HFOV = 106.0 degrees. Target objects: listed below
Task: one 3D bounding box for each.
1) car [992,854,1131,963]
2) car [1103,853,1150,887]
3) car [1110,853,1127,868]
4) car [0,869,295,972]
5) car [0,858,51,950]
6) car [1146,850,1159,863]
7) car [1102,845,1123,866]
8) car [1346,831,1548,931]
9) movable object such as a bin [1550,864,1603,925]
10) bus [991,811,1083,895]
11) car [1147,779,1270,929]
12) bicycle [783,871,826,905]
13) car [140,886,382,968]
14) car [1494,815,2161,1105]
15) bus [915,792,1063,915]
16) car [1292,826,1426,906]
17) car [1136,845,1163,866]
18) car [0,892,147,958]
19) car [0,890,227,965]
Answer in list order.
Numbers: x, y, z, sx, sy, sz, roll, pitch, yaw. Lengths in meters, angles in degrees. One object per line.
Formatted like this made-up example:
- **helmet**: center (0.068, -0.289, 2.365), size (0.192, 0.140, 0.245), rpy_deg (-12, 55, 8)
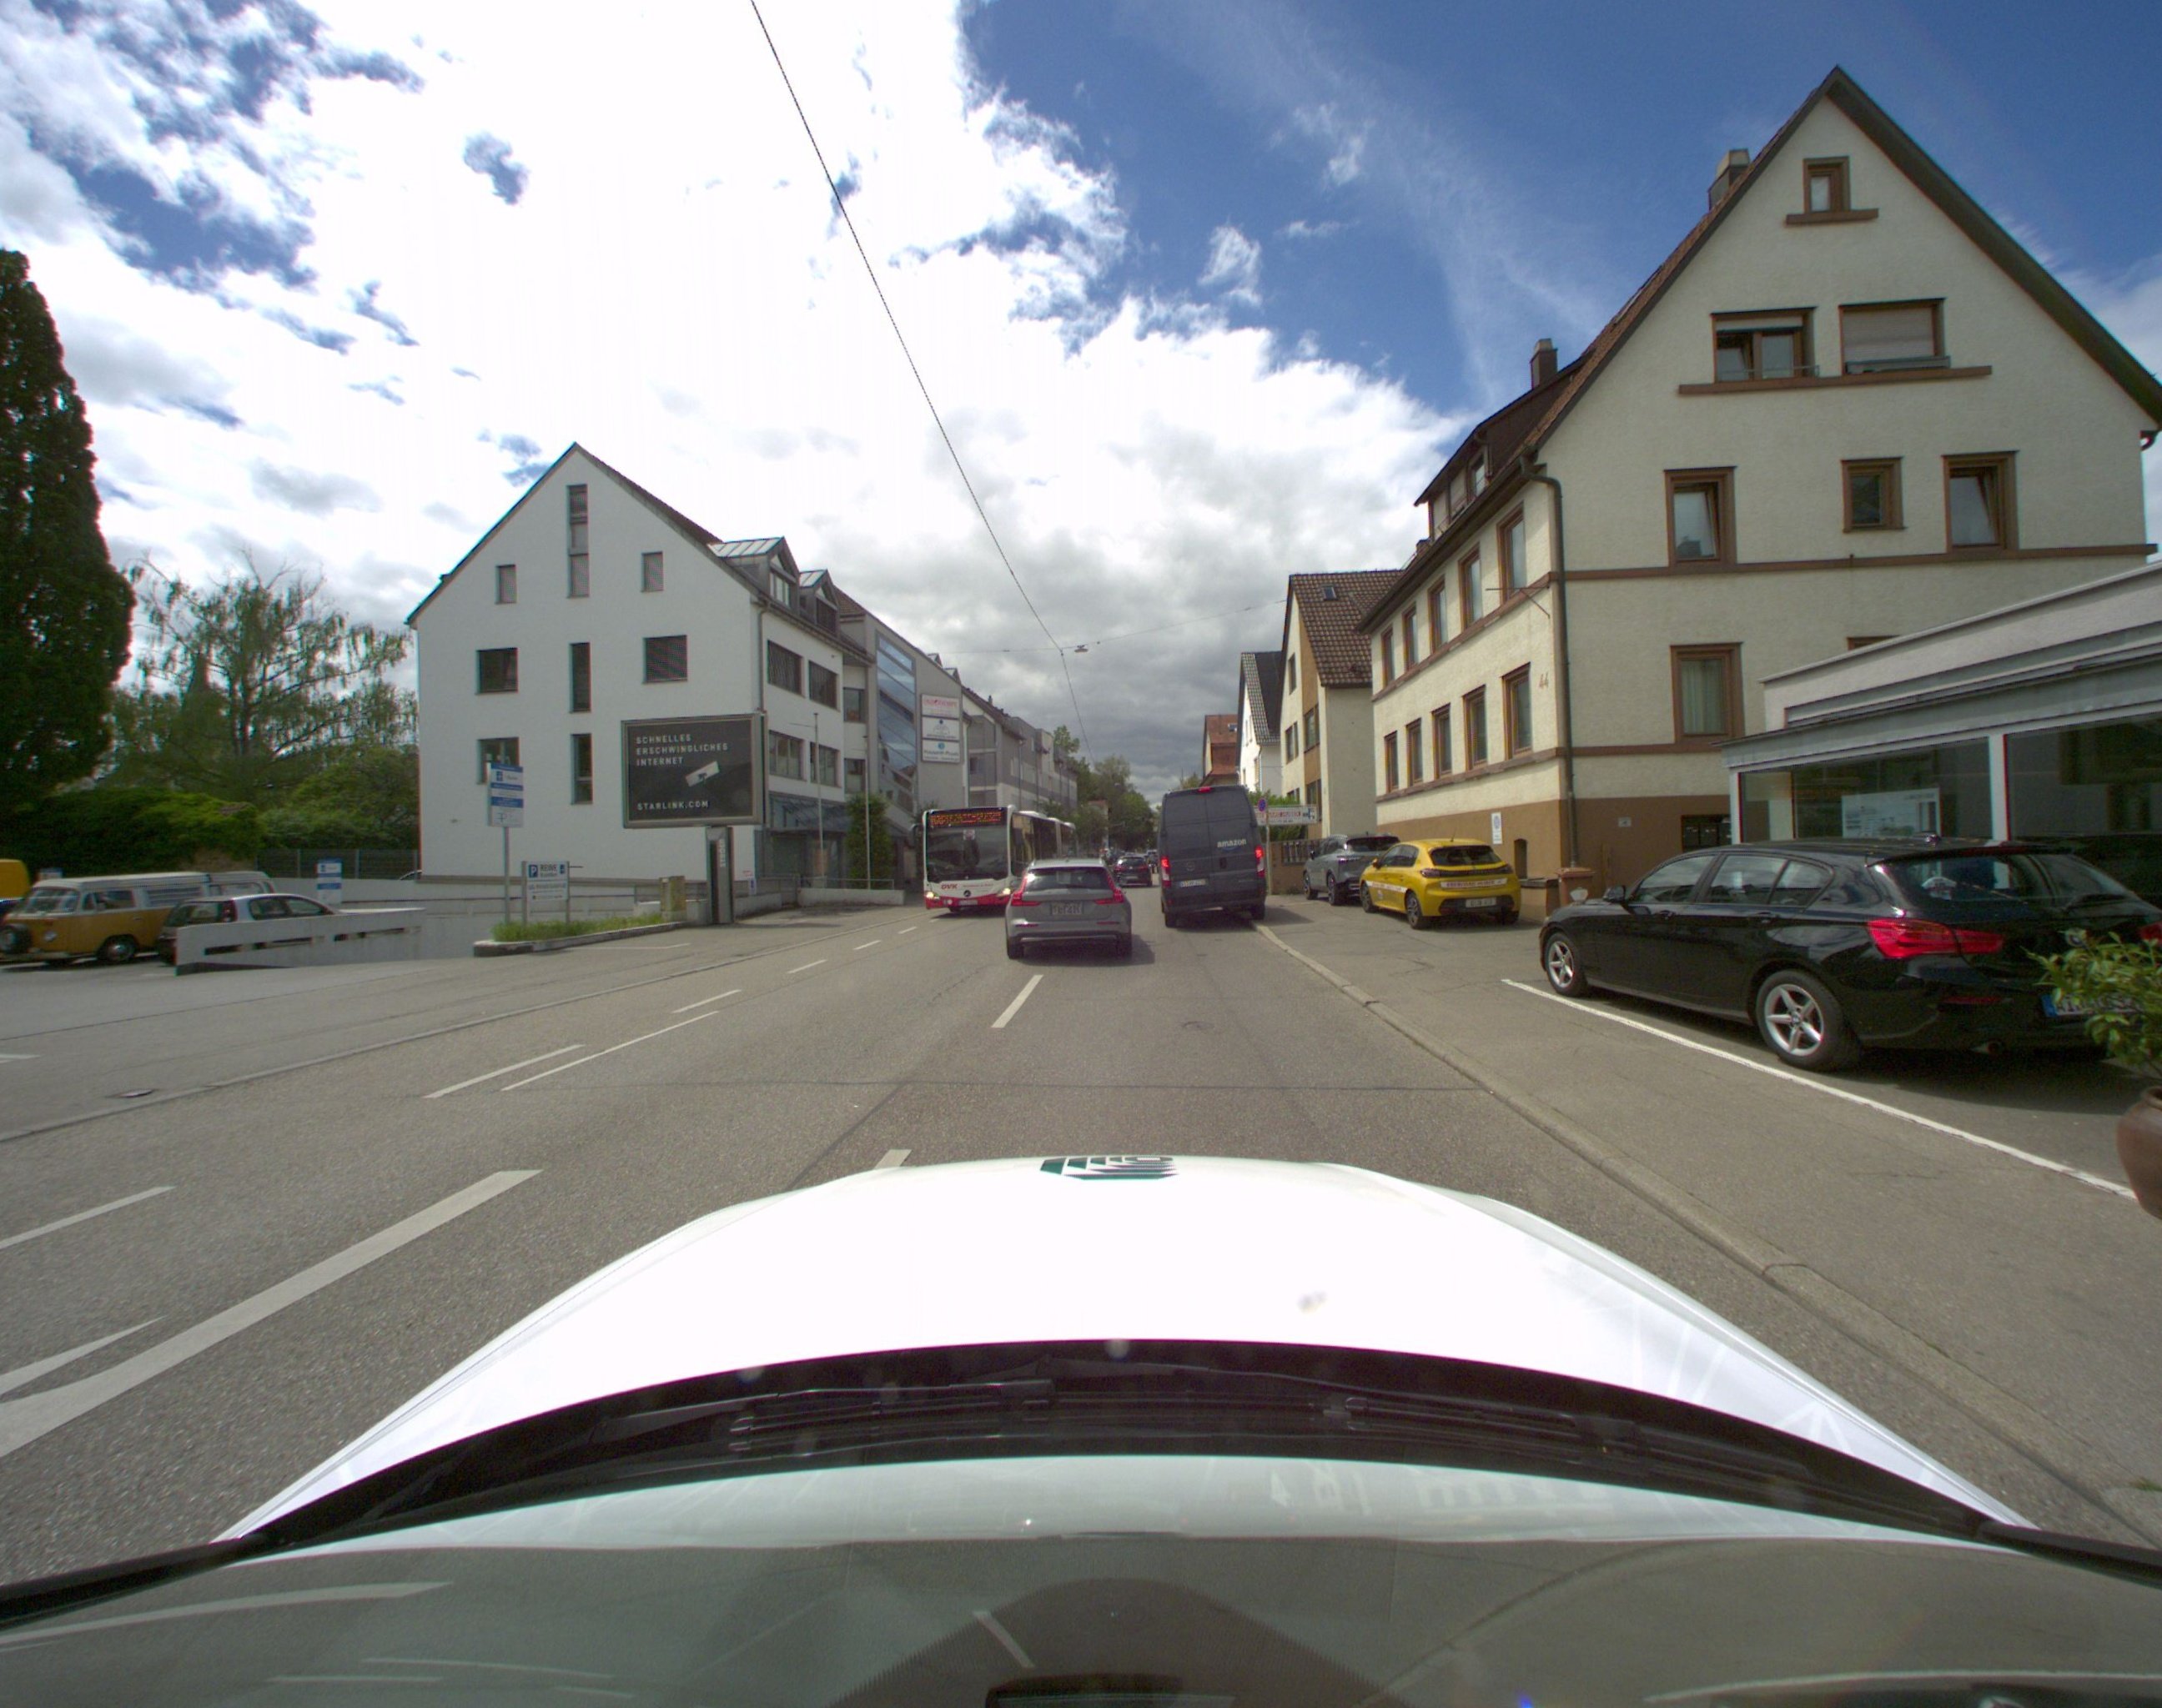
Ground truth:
- **car**: center (-0.164, 0.748, 13.194), size (1.888, 1.453, 3.972), rpy_deg (-1, 0, 3)
- **car**: center (2.126, 0.692, 37.104), size (1.887, 1.446, 3.975), rpy_deg (-1, 0, 6)
- **car**: center (4.823, 0.827, 104.310), size (2.096, 1.709, 4.770), rpy_deg (-2, 0, 3)
- **car**: center (-21.799, 1.433, 19.091), size (1.828, 1.989, 4.658), rpy_deg (-2, 0, 7)
- **car**: center (-30.943, 1.449, 20.450), size (2.051, 2.530, 5.989), rpy_deg (-4, 0, 7)
- **car**: center (11.709, 0.433, 133.177), size (1.983, 2.013, 4.007), rpy_deg (-2, 0, 6)
- **car**: center (3.625, 0.152, 92.145), size (2.096, 2.121, 4.770), rpy_deg (-4, 0, 3)
- **car**: center (6.451, 0.359, 14.950), size (1.870, 1.447, 4.310), rpy_deg (-2, 2, 2)
- **movable object such as a bin**: center (7.800, 0.628, 12.836), size (0.498, 0.925, 0.599), rpy_deg (-2, 0, 8)
- **bus**: center (-1.718, -0.052, 35.656), size (2.702, 3.163, 8.081), rpy_deg (-2, 0, 6)
- **car**: center (2.742, -0.002, 18.320), size (2.241, 2.795, 5.579), rpy_deg (-2, 0, 6)
- **bicycle**: center (-9.818, 1.188, 28.979), size (0.627, 1.095, 2.006), rpy_deg (-2, 0, 6)
- **car**: center (-19.087, 1.631, 19.228), size (1.805, 1.529, 3.758), rpy_deg (-2, 0, 2)
- **car**: center (5.372, 0.532, 6.481), size (1.960, 1.447, 4.538), rpy_deg (-2, 0, 2)
- **bus**: center (-2.555, -0.021, 26.603), size (2.669, 3.163, 10.199), rpy_deg (-2, 0, 5)
- **car**: center (6.543, 0.242, 19.747), size (1.852, 1.612, 4.590), rpy_deg (-3, 0, 3)
- **car**: center (5.135, 0.104, 60.941), size (1.887, 1.446, 3.975), rpy_deg (-1, 0, 6)
- **car**: center (-26.598, 1.811, 19.974), size (1.801, 1.438, 4.519), rpy_deg (-4, 0, 9)
- **car**: center (-24.241, 1.723, 19.717), size (1.801, 1.438, 4.694), rpy_deg (-2, 0, 9)
